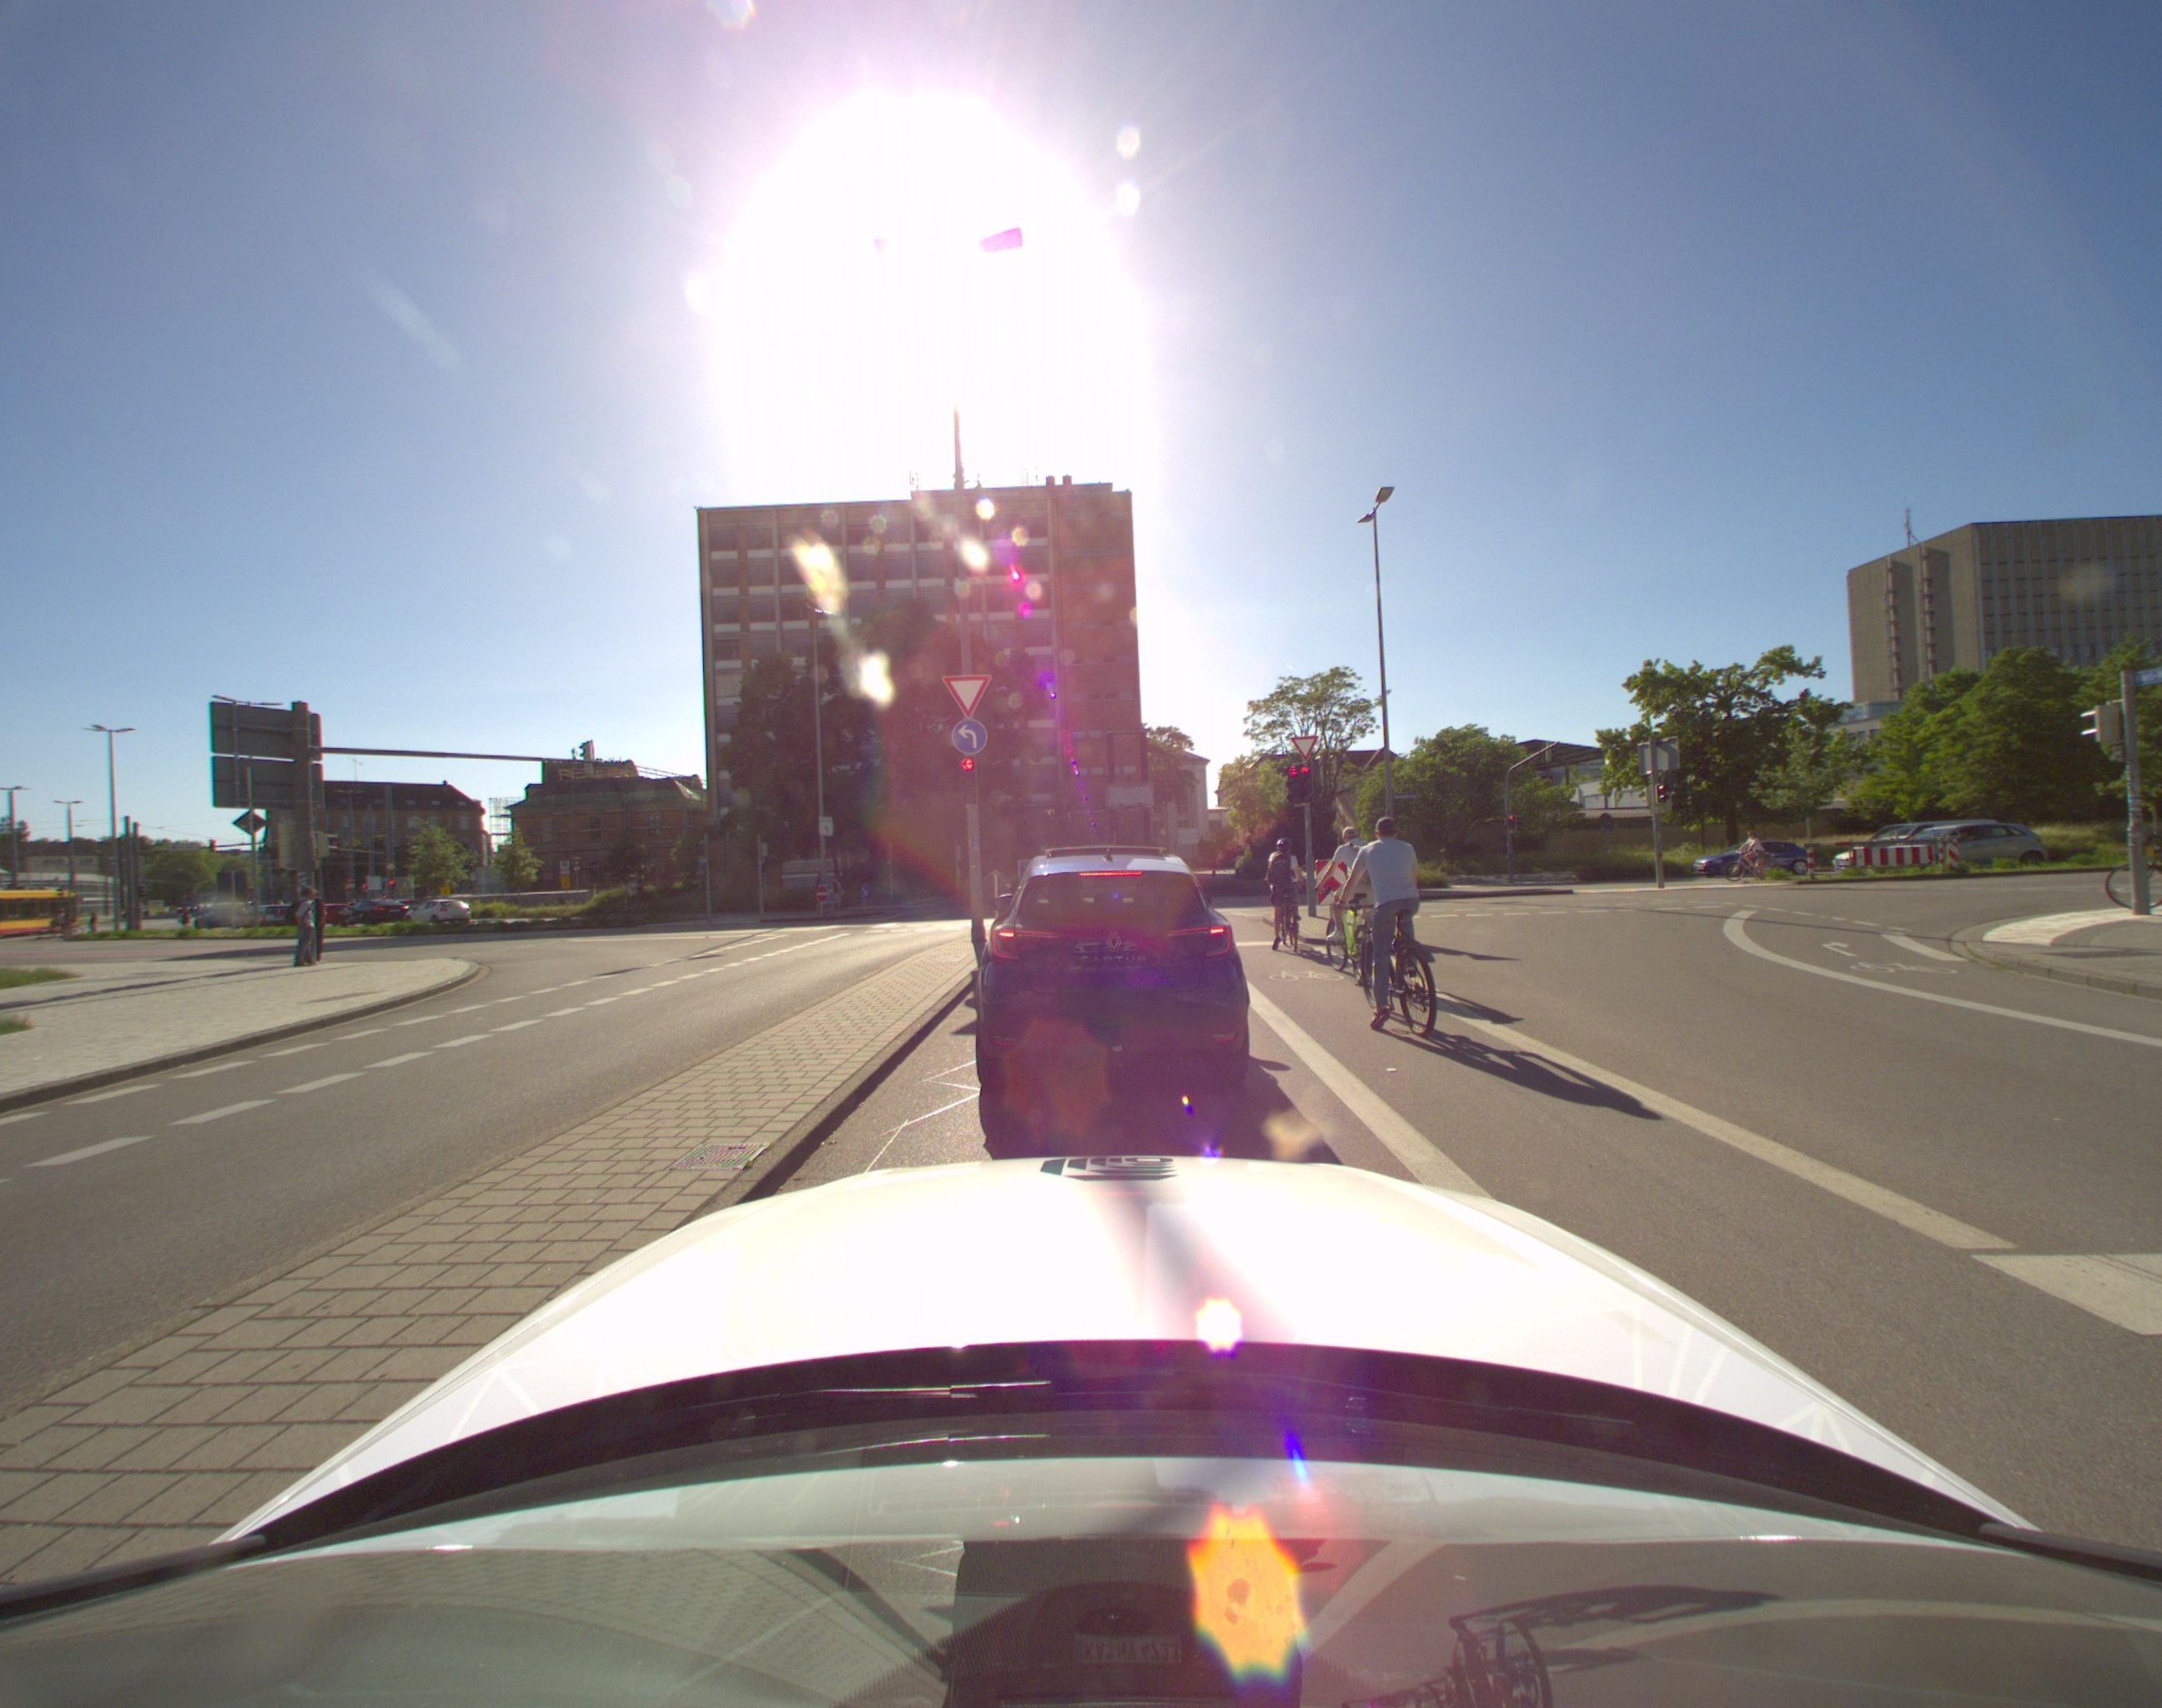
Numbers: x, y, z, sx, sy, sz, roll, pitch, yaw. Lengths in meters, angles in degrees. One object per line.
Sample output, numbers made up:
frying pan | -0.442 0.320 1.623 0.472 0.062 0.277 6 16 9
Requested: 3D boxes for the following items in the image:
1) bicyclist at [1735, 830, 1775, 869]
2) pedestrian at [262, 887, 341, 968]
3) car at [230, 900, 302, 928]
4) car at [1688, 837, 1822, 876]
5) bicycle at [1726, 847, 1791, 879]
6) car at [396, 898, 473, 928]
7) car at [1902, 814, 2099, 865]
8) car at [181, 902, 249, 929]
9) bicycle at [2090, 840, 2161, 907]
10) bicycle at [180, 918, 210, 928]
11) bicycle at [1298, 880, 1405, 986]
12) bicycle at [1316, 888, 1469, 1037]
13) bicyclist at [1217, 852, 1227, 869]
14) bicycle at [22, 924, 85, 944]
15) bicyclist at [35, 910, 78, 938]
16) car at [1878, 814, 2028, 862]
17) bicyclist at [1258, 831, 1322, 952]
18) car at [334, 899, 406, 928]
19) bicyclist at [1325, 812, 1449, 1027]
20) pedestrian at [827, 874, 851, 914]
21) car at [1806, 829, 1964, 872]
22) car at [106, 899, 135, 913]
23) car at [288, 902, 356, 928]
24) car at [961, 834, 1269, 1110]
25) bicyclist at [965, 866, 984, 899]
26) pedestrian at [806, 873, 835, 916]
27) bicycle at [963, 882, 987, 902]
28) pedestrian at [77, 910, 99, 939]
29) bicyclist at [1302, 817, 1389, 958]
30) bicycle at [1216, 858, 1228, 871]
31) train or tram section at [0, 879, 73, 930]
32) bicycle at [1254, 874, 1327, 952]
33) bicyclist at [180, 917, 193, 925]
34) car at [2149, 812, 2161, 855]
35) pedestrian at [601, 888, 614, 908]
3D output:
bicyclist | 24.041 -0.159 29.054 0.870 1.343 0.612 -2 -1 7
pedestrian | -17.751 1.653 18.562 0.647 1.730 1.066 -3 -1 15
car | -48.859 3.603 48.806 3.834 1.508 1.805 -3 -1 25
car | 28.140 0.106 34.110 3.965 1.398 1.798 -3 -1 7
bicycle | 24.145 0.322 29.039 1.673 1.033 0.612 -2 -1 7
car | -36.390 3.336 45.837 3.834 1.508 1.805 -3 -1 25
car | 29.226 -0.433 26.005 3.965 1.398 1.798 -3 -1 7
car | -54.908 3.891 51.639 3.834 1.508 1.805 -3 -1 25
bicycle | 15.921 0.268 11.629 0.640 0.958 1.866 -2 -1 -39
bicycle | -63.152 4.909 58.057 0.429 0.549 1.419 -3 -1 42
bicycle | 3.197 0.890 9.820 0.687 1.089 1.923 -1 0 2
bicycle | 2.741 0.899 7.404 0.687 1.089 1.923 -1 0 2
bicyclist | 12.793 0.590 73.997 0.692 1.481 0.717 -2 -1 0
bicycle | -66.131 5.126 52.443 2.433 1.062 0.800 0 -1 -44
bicyclist | -66.069 4.501 52.525 1.584 1.634 0.800 0 -1 -43
car | 35.876 -0.618 33.611 3.965 1.749 1.798 -2 -1 7
bicyclist | 3.220 0.559 12.649 0.697 1.791 1.142 -1 -1 2
car | -42.546 3.563 48.742 3.834 1.508 1.805 -3 -1 25
bicyclist | 2.736 0.553 7.400 0.680 1.791 1.142 -1 -1 2
pedestrian | -10.734 1.756 36.152 0.675 1.730 0.764 -3 -1 15
car | 30.302 -0.135 30.796 3.965 1.398 1.798 -3 -1 7
car | -154.563 8.371 131.089 2.008 2.014 3.956 0 -1 -35
car | -48.202 3.869 51.711 3.834 1.508 1.805 -3 -1 25
car | 0.204 0.705 6.769 1.783 1.585 3.913 -1 0 0
bicyclist | -5.758 1.545 44.074 0.751 1.716 1.001 -2 -1 7
pedestrian | -11.694 1.795 36.624 0.807 1.862 0.913 -3 -1 15
bicycle | -5.722 2.043 44.174 0.751 0.985 2.098 -2 0 8
pedestrian | -62.963 4.485 51.636 0.697 1.762 0.781 -3 -1 43
bicyclist | 3.187 0.387 9.907 0.676 1.594 1.142 -1 -1 1
bicycle | 12.803 0.944 73.991 0.692 1.140 2.441 -2 0 1
train or tram section | -75.311 3.498 56.999 2.711 3.232 10.492 0 -1 -32
bicycle | 3.277 0.894 12.888 0.687 1.089 1.923 -1 0 2
bicyclist | -63.442 4.755 57.752 0.425 0.549 0.575 -3 -1 42
car | 36.907 -0.762 25.334 4.534 1.398 1.798 -3 -1 7
pedestrian | -42.483 3.907 73.088 0.680 1.730 0.759 -2 -1 -7
